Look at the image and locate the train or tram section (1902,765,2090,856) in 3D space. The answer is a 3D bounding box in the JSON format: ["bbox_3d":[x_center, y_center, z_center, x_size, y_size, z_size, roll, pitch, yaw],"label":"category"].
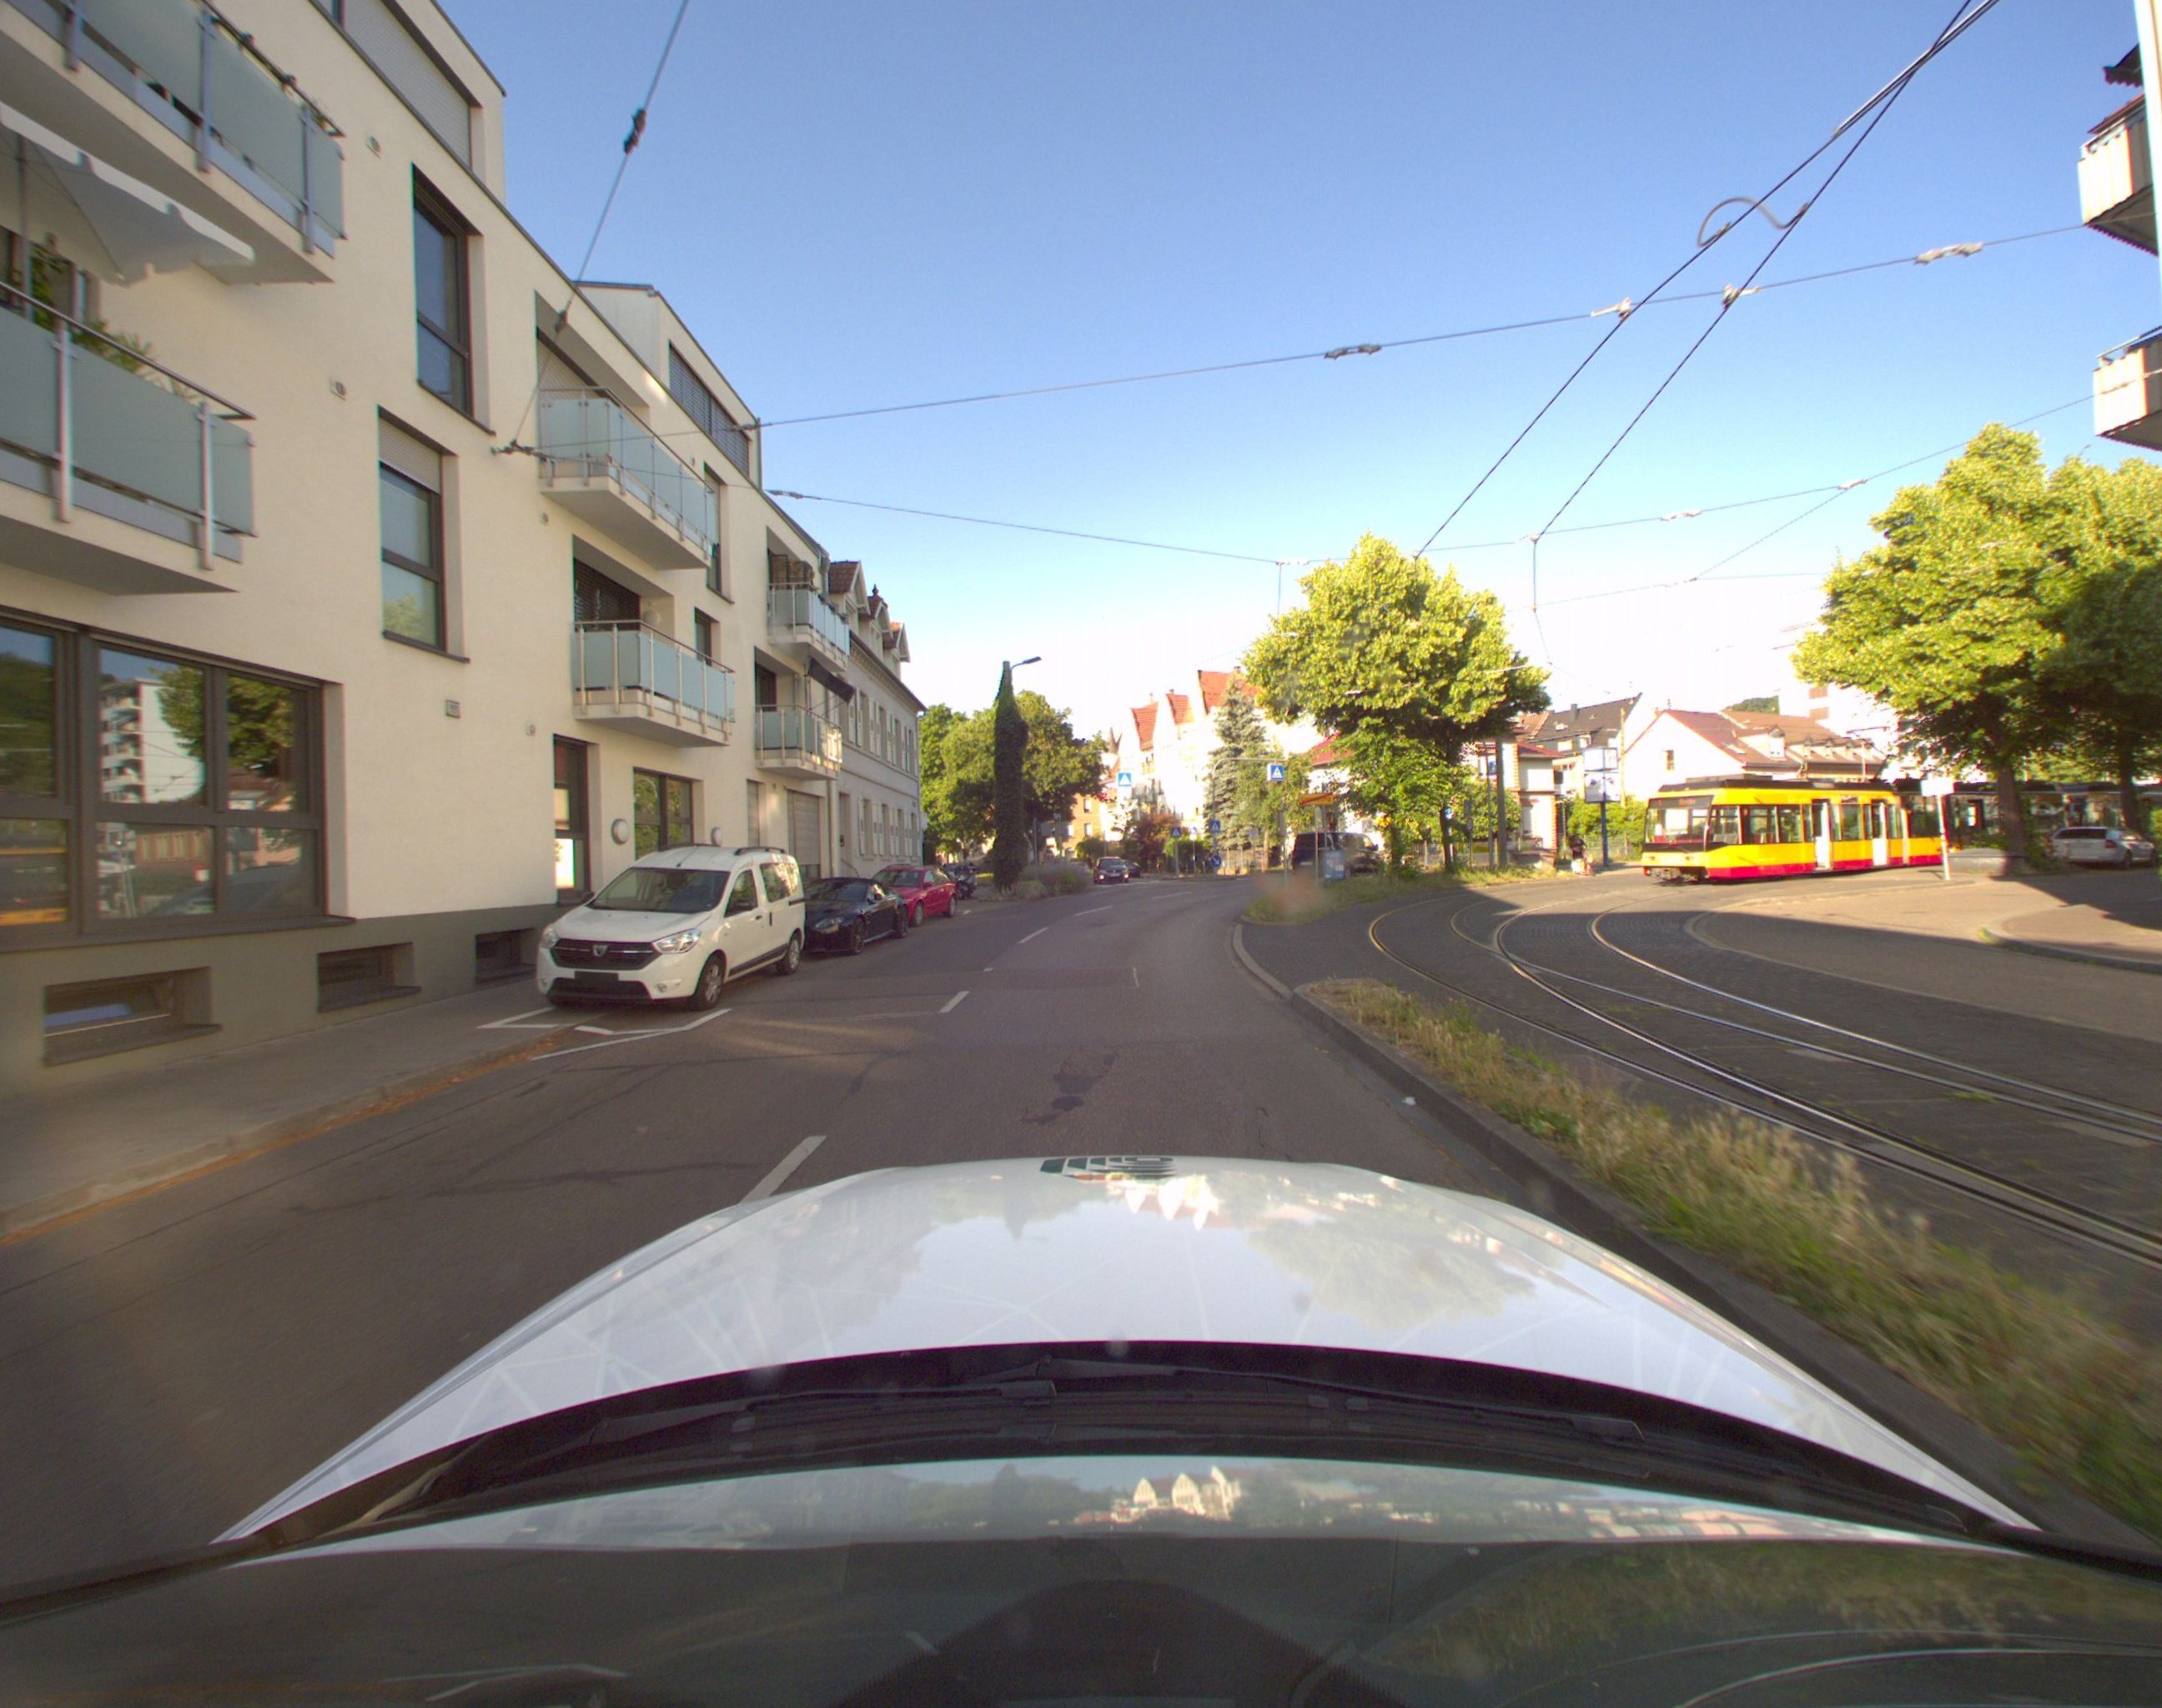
[{"bbox_3d":[40.339,-1.879,35.824,9.937,3.555,2.761,-2,0,-26],"label":"train or tram section"}]

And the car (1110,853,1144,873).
[{"bbox_3d":[3.779,0.772,67.490,1.993,1.596,3.987,-1,-1,-9],"label":"car"}]

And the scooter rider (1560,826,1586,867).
[{"bbox_3d":[20.807,-0.308,34.449,0.655,1.672,0.603,-2,-1,-21],"label":"scooter rider"}]

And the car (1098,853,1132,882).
[{"bbox_3d":[1.846,0.727,44.926,1.706,1.403,3.740,-4,0,2],"label":"car"}]

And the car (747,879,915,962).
[{"bbox_3d":[-4.512,1.141,15.355,1.657,1.273,4.030,0,-1,4],"label":"car"}]

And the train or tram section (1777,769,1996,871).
[{"bbox_3d":[31.374,-1.303,31.609,9.937,3.555,2.761,-2,0,-26],"label":"train or tram section"}]

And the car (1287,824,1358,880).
[{"bbox_3d":[9.508,-0.095,31.866,1.975,2.013,4.024,-1,0,26],"label":"car"}]

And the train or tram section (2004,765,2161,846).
[{"bbox_3d":[49.360,-2.356,39.919,9.937,3.555,2.761,-2,0,-26],"label":"train or tram section"}]

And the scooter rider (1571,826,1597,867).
[{"bbox_3d":[20.999,-0.311,33.993,0.655,1.672,0.603,-2,-1,-21],"label":"scooter rider"}]

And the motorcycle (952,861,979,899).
[{"bbox_3d":[-4.359,0.959,30.595,0.931,1.357,2.556,-1,-1,-10],"label":"motorcycle"}]

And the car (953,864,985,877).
[{"bbox_3d":[-15.266,2.231,110.648,2.356,1.596,4.878,-1,-1,-33],"label":"car"}]

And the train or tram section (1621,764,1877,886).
[{"bbox_3d":[22.476,-0.982,27.207,9.941,3.555,2.760,-2,0,-27],"label":"train or tram section"}]

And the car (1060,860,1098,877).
[{"bbox_3d":[-0.251,1.483,83.046,2.347,1.596,4.898,-1,-1,-19],"label":"car"}]

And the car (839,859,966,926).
[{"bbox_3d":[-4.512,0.904,21.319,1.699,1.466,4.603,0,1,9],"label":"car"}]

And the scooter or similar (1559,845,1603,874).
[{"bbox_3d":[20.976,0.238,34.192,0.686,1.136,1.396,-3,0,-21],"label":"scooter or similar"}]

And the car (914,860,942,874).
[{"bbox_3d":[-22.729,1.952,120.553,2.356,2.041,4.878,-1,-1,-33],"label":"car"}]

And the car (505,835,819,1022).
[{"bbox_3d":[-4.913,0.773,10.372,1.806,1.869,4.330,0,-1,-1],"label":"car"}]

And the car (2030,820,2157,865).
[{"bbox_3d":[35.417,-0.404,28.482,4.003,1.441,1.677,-2,0,-22],"label":"car"}]

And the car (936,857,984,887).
[{"bbox_3d":[-6.752,0.980,45.290,1.815,1.536,3.882,-1,-1,-21],"label":"car"}]
